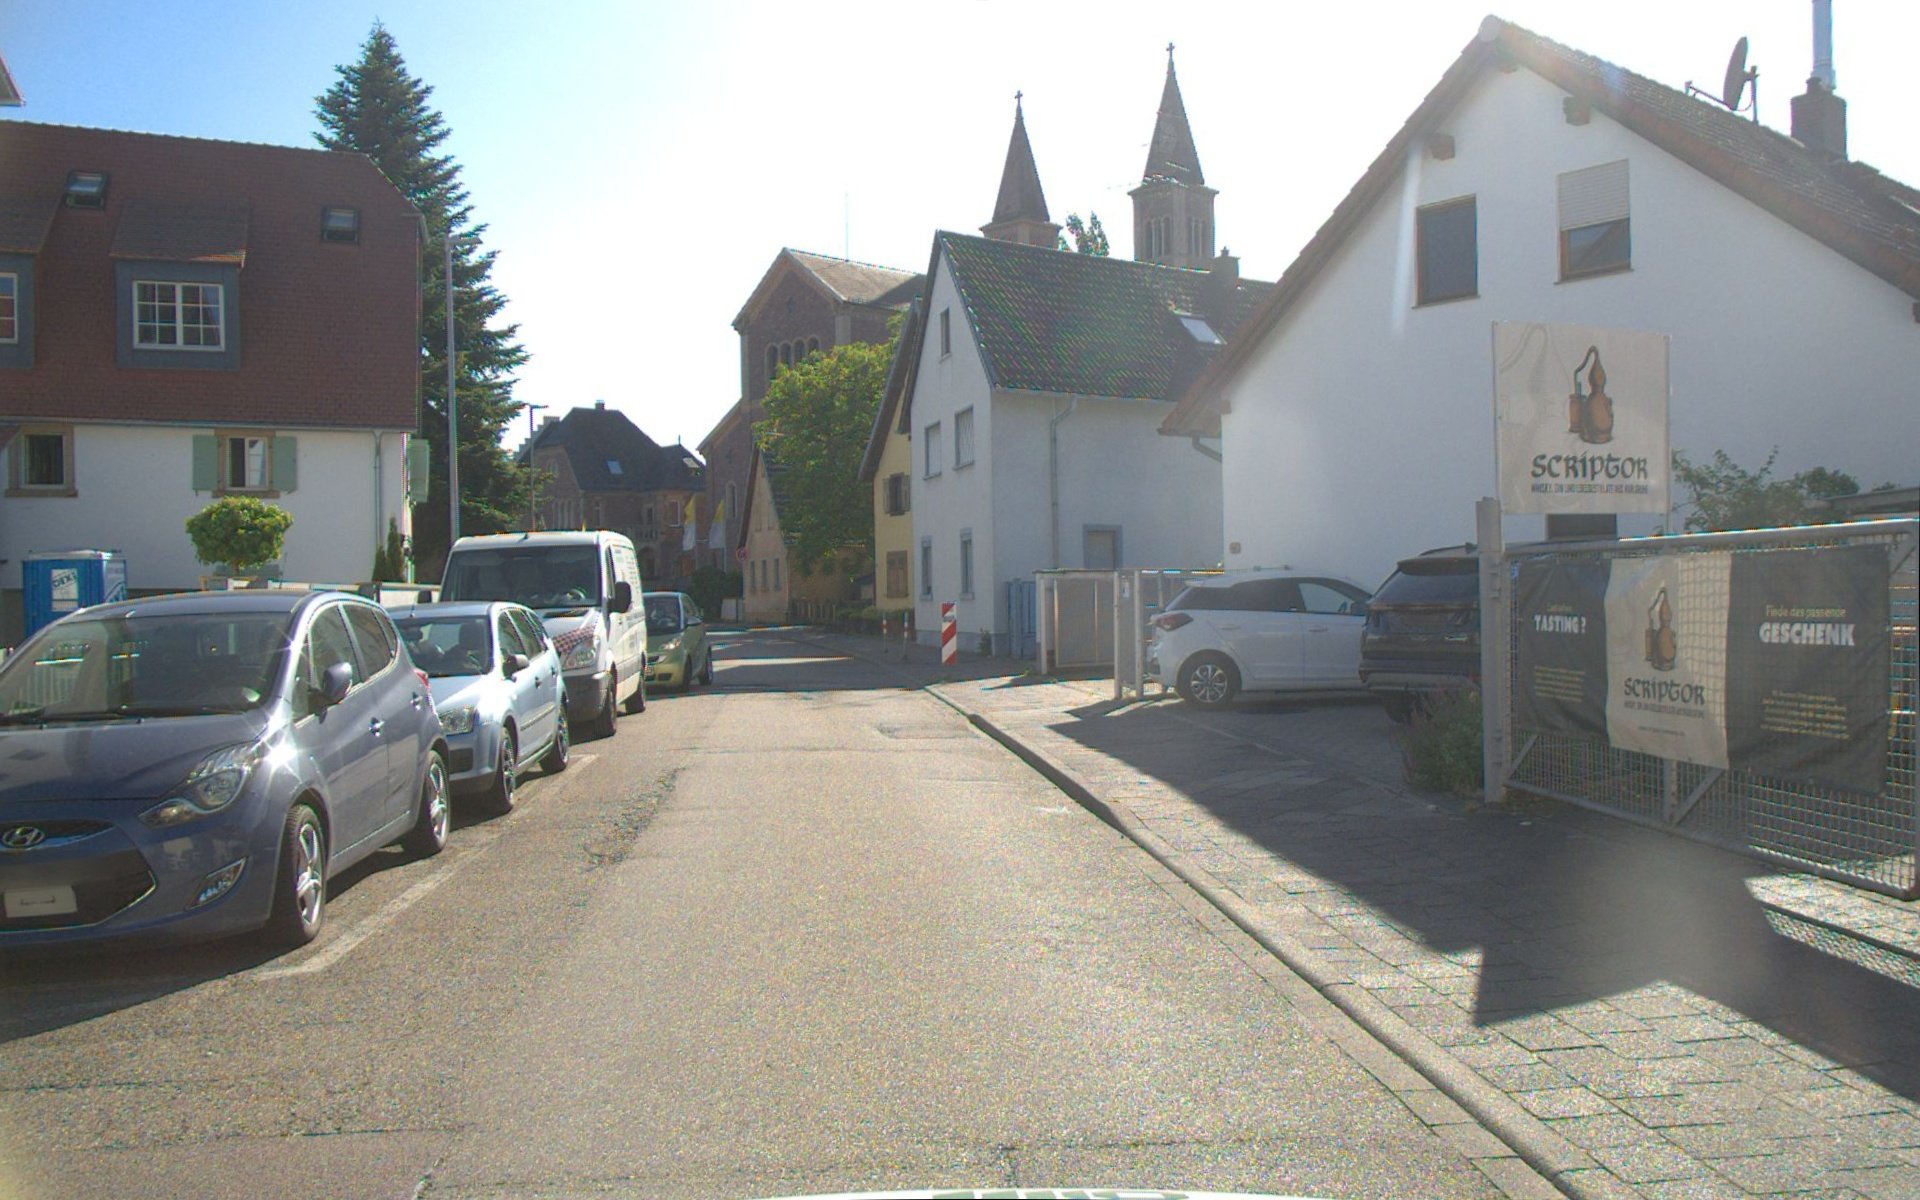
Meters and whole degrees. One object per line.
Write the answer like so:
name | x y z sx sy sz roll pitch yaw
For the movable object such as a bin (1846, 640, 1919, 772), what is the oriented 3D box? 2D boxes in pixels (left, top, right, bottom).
movable object such as a bin | 6.867 0.771 12.186 0.510 0.939 0.417 1 -1 -35

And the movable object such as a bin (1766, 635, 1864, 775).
movable object such as a bin | 5.926 0.715 11.464 0.510 0.939 0.417 1 -1 -35

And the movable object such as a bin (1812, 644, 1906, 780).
movable object such as a bin | 6.436 0.786 11.844 0.510 0.939 0.417 1 -1 -35

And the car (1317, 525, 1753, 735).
car | 5.521 0.206 15.756 4.001 1.718 1.889 -2 1 -34

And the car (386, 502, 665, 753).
car | -4.953 0.259 19.863 2.155 2.431 6.057 -3 1 -5

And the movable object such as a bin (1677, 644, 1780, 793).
movable object such as a bin | 5.041 0.764 10.853 0.510 0.939 0.417 1 -1 -35

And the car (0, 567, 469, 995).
car | -3.788 0.708 8.409 1.681 1.626 3.921 -2 0 -5

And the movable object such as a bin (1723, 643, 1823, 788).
movable object such as a bin | 5.482 0.765 11.155 0.510 0.939 0.417 1 -1 -35

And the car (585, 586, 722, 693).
car | -4.825 0.581 26.352 1.541 1.573 2.966 -2 0 1

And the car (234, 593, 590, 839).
car | -4.061 0.748 12.971 1.678 1.530 4.230 -2 0 -5

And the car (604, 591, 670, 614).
car | -21.893 0.153 112.239 1.688 1.425 4.219 -1 1 43

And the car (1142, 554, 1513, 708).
car | 4.071 0.337 18.828 3.830 1.518 1.848 -2 0 3
